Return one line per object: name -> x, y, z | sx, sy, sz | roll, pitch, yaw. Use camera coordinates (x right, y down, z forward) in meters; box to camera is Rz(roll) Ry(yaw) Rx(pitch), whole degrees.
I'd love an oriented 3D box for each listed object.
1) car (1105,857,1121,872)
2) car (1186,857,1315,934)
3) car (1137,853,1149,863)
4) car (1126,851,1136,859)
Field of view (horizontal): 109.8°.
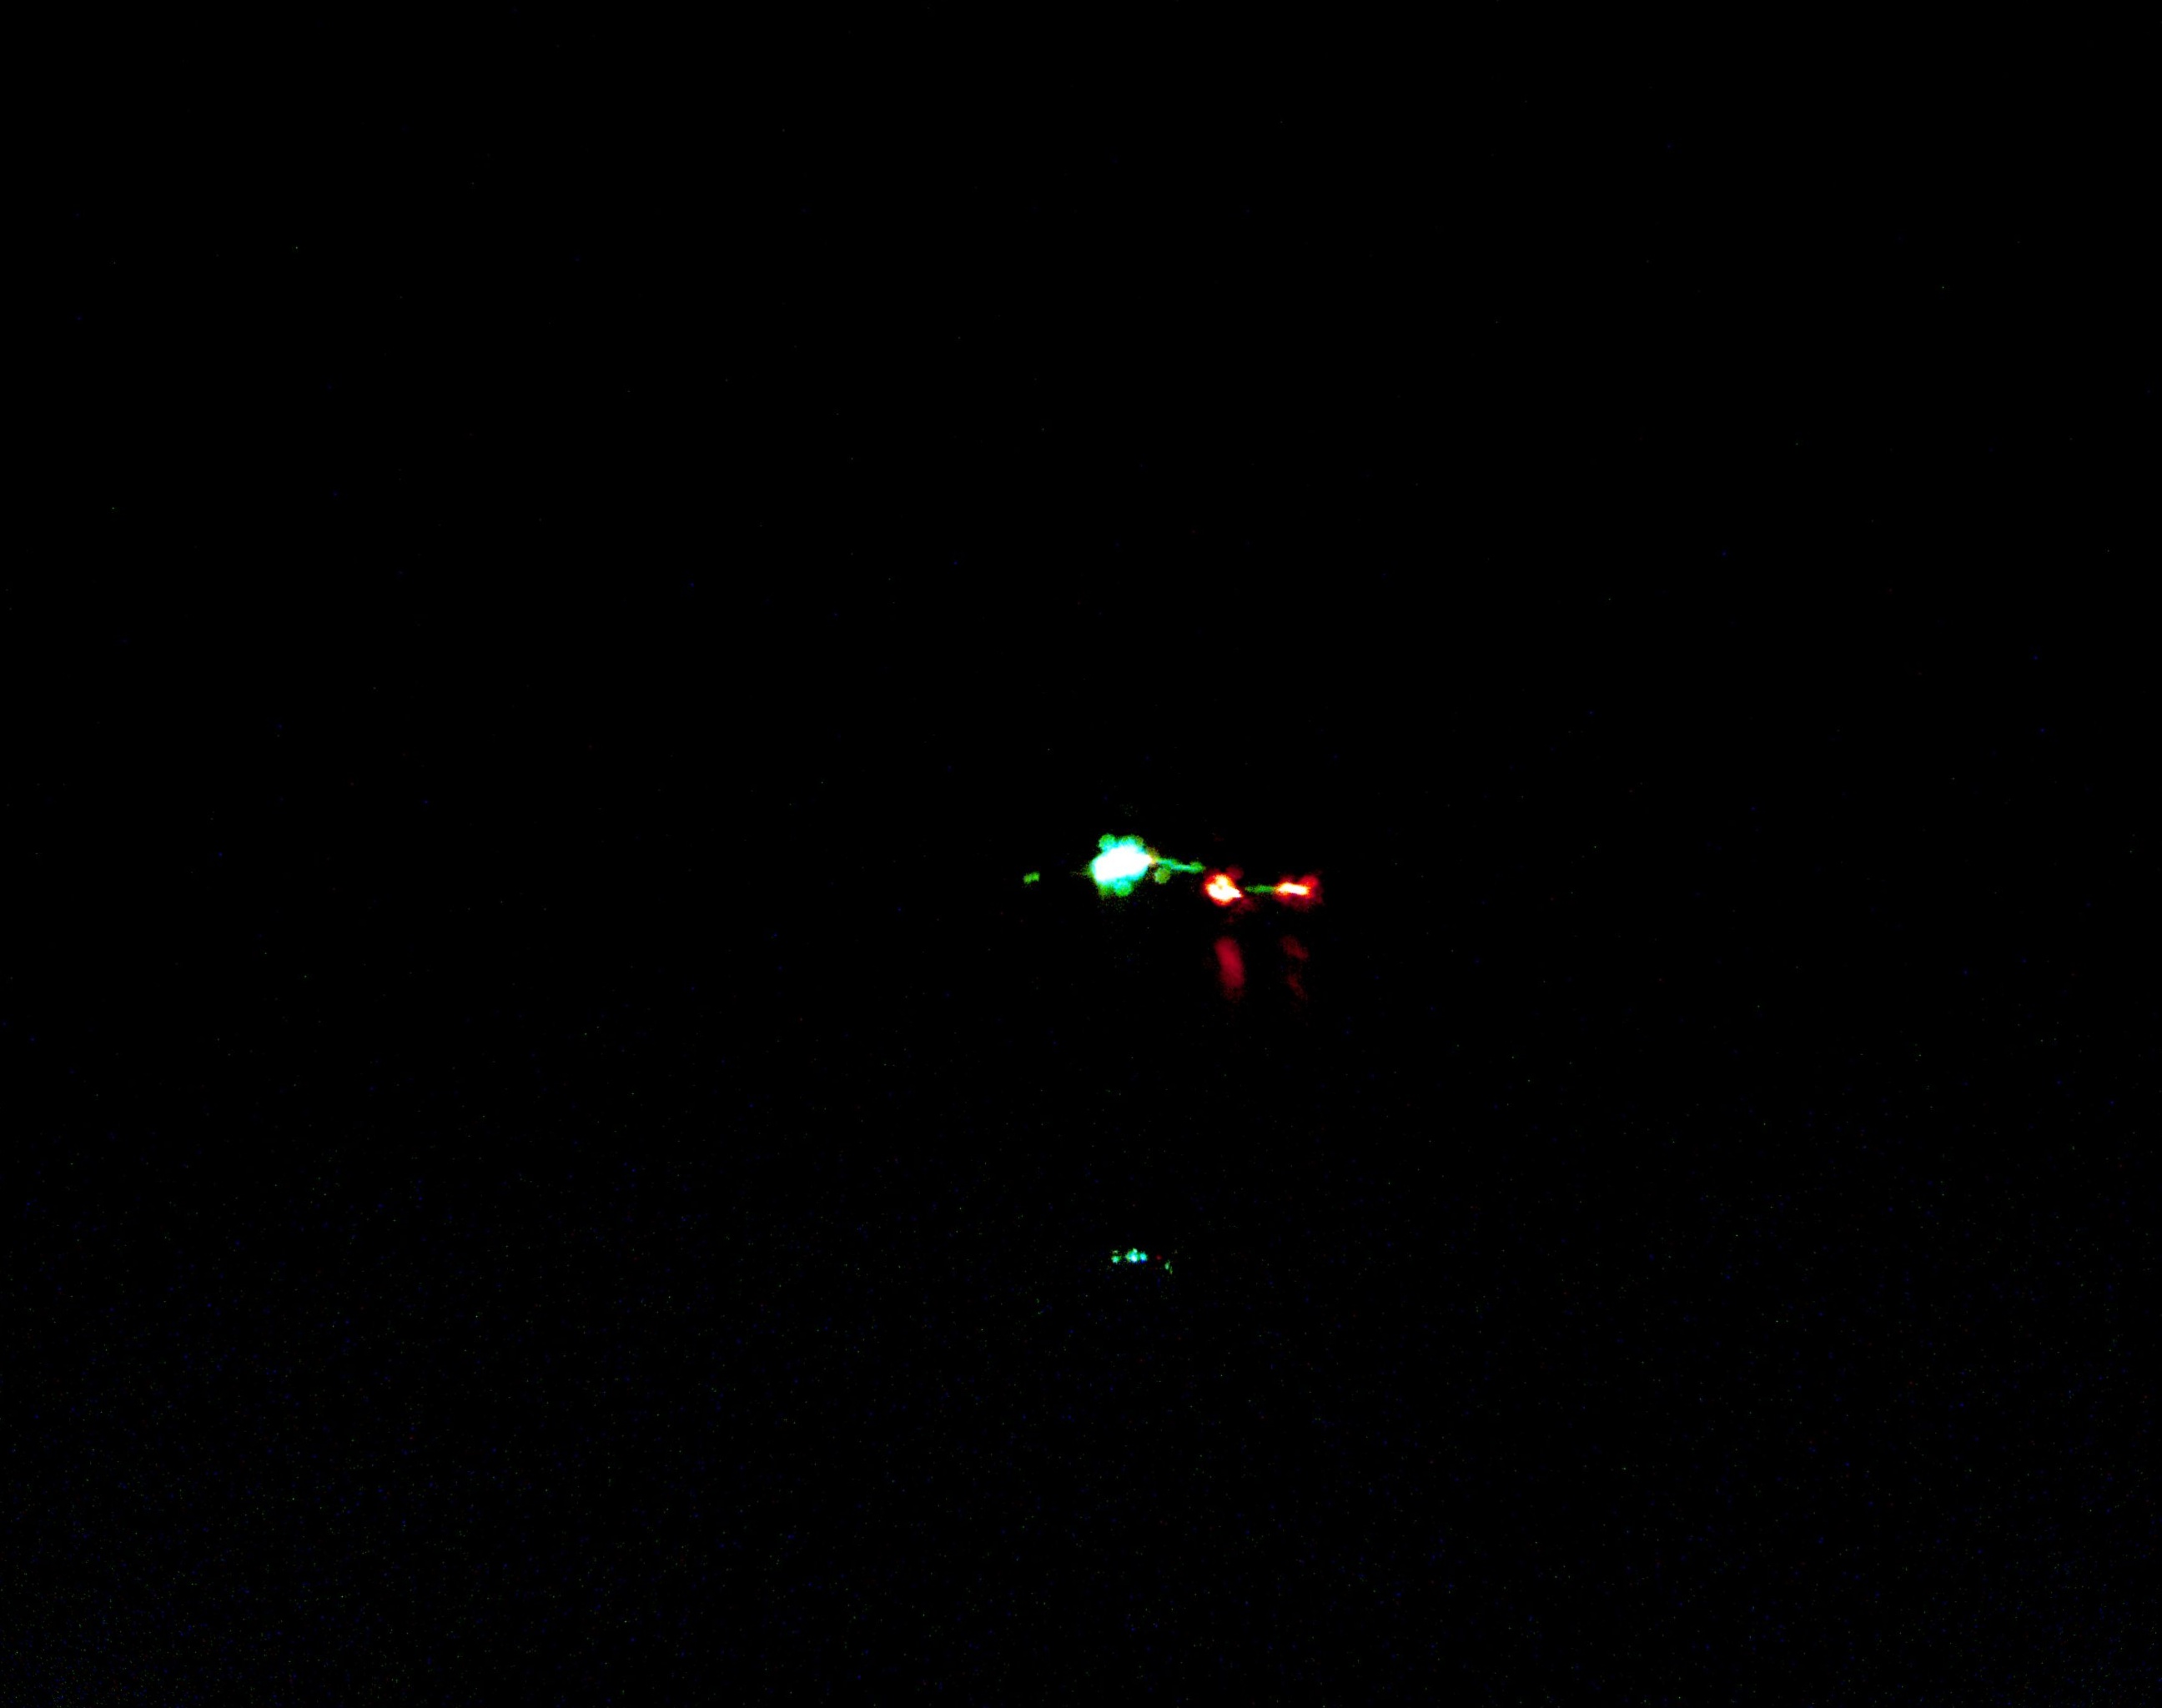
car -> 3.803, 1.224, 89.333 | 1.746, 1.624, 3.736 | -1, 0, 3
car -> 3.578, 0.811, 16.937 | 1.998, 1.385, 4.596 | -2, 0, 3
car -> 10.134, 0.661, 124.184 | 1.747, 1.624, 3.735 | -1, 0, 1
car -> 10.924, 0.249, 166.916 | 1.747, 1.624, 3.735 | -1, 0, -1
